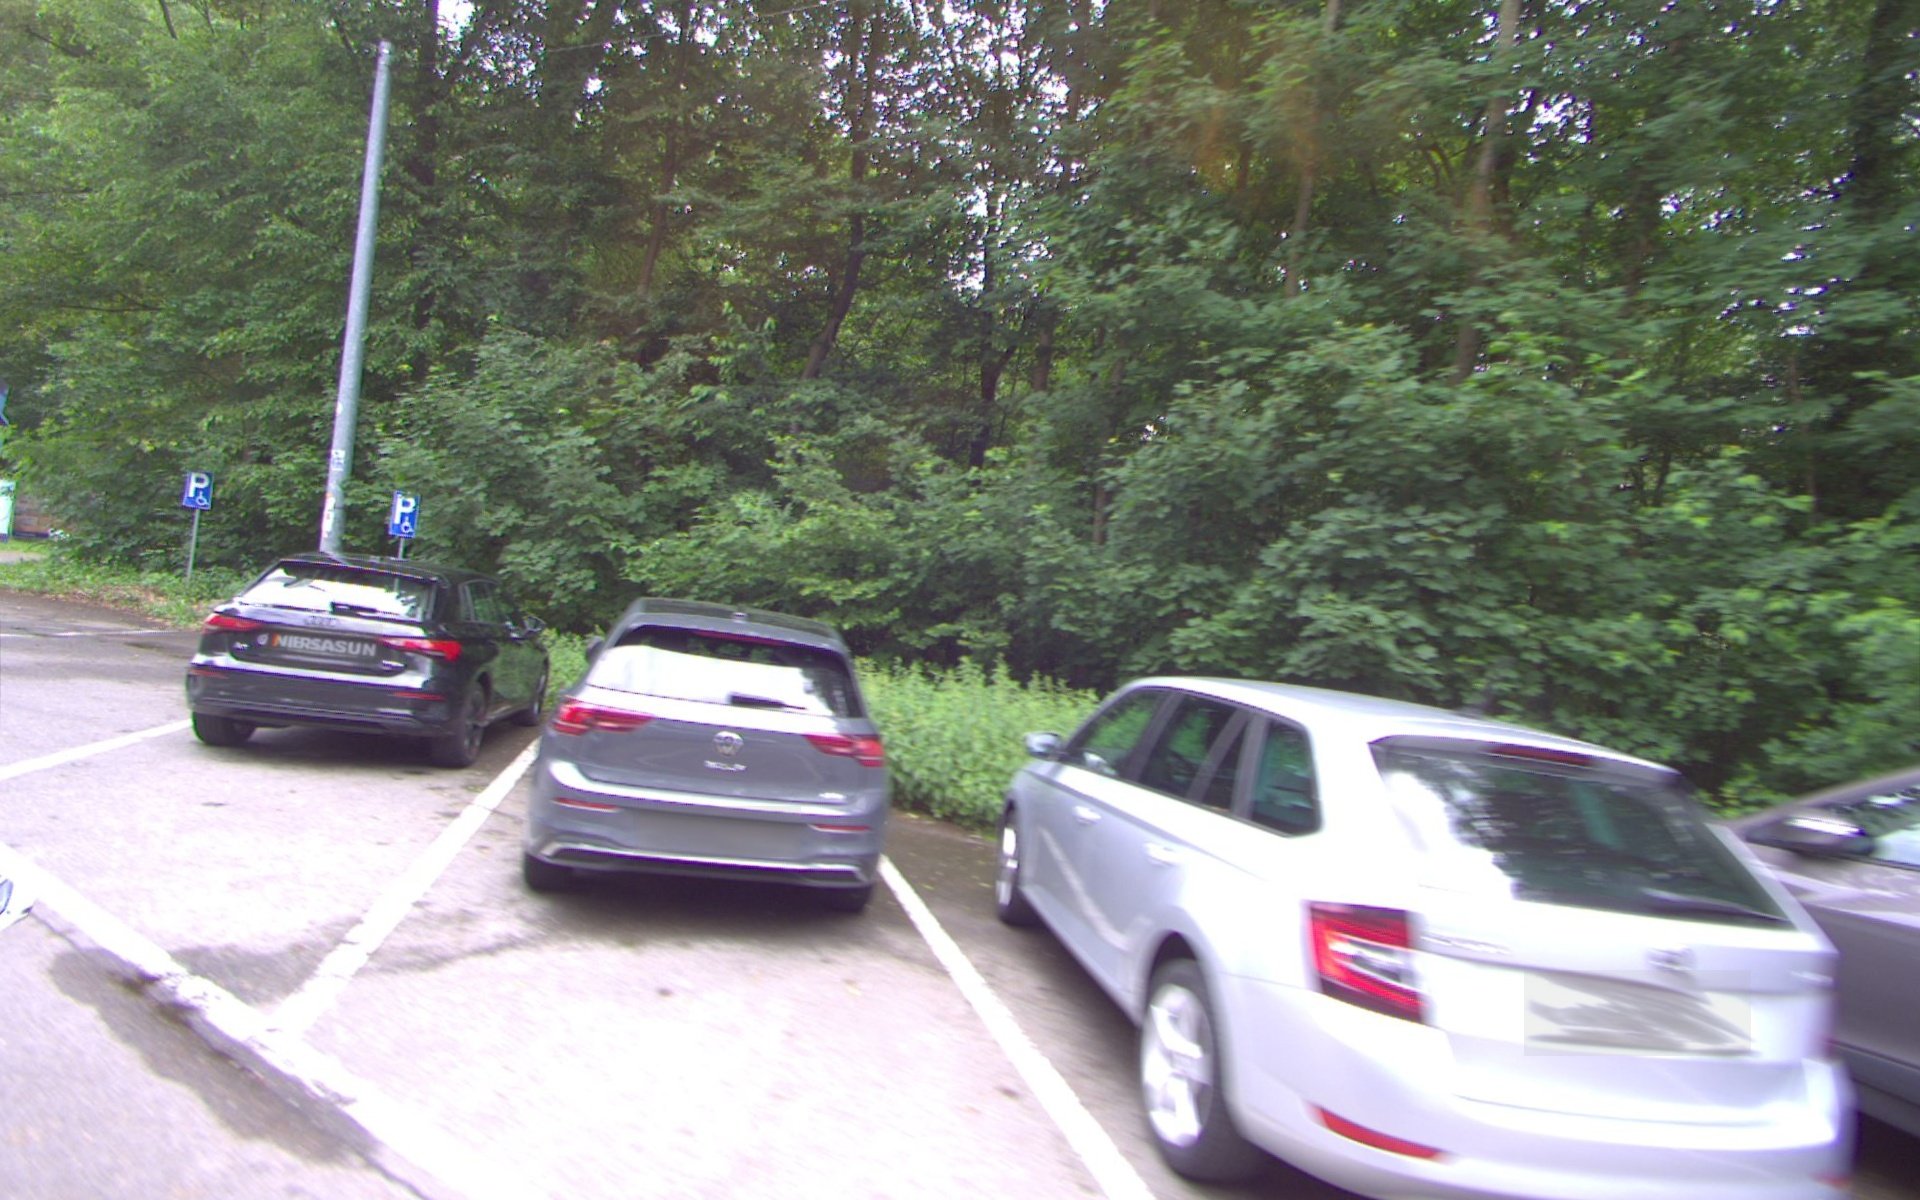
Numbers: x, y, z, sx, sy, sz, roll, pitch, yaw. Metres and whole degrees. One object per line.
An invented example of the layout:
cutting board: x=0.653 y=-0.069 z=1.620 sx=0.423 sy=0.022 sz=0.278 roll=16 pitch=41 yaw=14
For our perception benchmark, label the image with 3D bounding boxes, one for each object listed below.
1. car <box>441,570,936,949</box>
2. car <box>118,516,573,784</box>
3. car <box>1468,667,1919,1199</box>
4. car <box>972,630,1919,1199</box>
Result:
car: x=-1.572 y=0.714 z=6.224 sx=1.880 sy=1.439 sz=3.990 roll=8 pitch=-1 yaw=-14
car: x=-4.662 y=0.347 z=8.470 sx=1.869 sy=1.479 sz=4.196 roll=8 pitch=-2 yaw=-13
car: x=4.137 y=1.314 z=3.352 sx=1.934 sy=1.655 sz=4.253 roll=8 pitch=-1 yaw=-13
car: x=1.364 y=1.051 z=4.238 sx=1.804 sy=1.484 sz=3.994 roll=8 pitch=-1 yaw=-9
